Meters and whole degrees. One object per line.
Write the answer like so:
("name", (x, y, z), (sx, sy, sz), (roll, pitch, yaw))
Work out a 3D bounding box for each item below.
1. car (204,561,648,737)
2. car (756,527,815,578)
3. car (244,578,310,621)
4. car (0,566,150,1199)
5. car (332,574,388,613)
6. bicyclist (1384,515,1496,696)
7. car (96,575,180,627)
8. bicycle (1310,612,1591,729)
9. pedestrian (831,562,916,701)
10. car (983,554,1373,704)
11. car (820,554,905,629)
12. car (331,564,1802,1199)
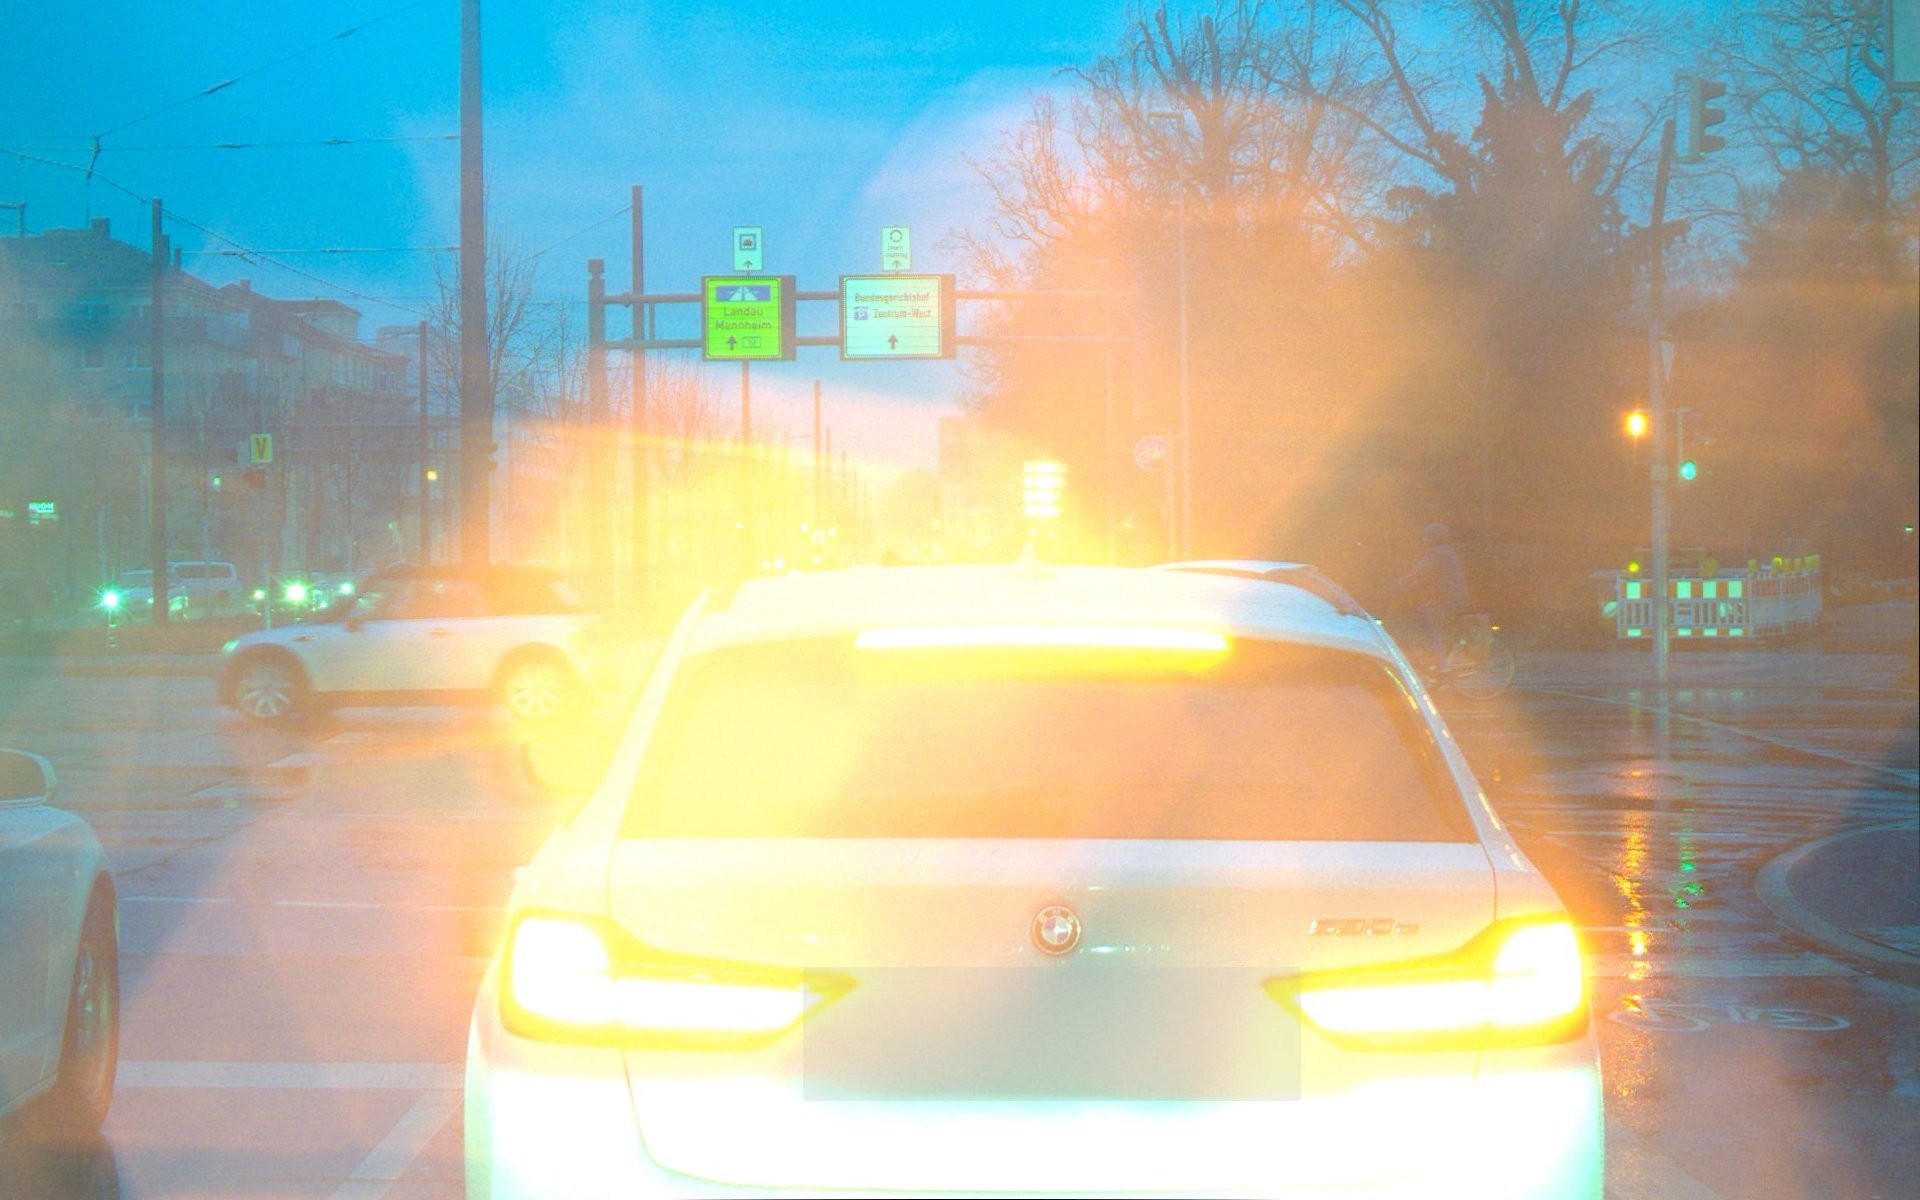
("car", (-4.822, 0.433, 31.306), (3.688, 1.473, 1.628), (1, 0, 5))
("car", (-5.762, -1.560, 113.889), (1.843, 1.603, 3.945), (1, 0, -2))
("car", (-24.789, -0.016, 124.801), (1.675, 1.502, 3.696), (1, 0, -1))
("car", (-3.090, 0.671, 7.064), (1.993, 1.451, 4.369), (0, 1, -2))
("car", (-24.423, -0.258, 140.014), (1.675, 1.502, 3.696), (1, 0, -1))
("bicyclist", (4.772, 0.054, 34.159), (0.973, 1.753, 0.813), (1, 0, 15))
("car", (-24.907, 0.020, 104.245), (1.675, 1.502, 3.696), (1, 0, -1))
("bicycle", (4.872, 0.688, 34.117), (2.668, 1.085, 0.814), (1, 0, 14))
("pedestrian", (-1.170, 0.428, 46.739), (0.903, 1.850, 0.811), (1, 0, 18))
("car", (2.435, 0.307, 38.331), (3.959, 1.548, 1.747), (1, 0, 22))
("car", (-2.201, -0.194, 77.546), (1.843, 1.603, 3.945), (1, 0, -2))
("car", (0.055, 0.674, 6.845), (1.993, 1.451, 4.369), (0, 1, -2))
